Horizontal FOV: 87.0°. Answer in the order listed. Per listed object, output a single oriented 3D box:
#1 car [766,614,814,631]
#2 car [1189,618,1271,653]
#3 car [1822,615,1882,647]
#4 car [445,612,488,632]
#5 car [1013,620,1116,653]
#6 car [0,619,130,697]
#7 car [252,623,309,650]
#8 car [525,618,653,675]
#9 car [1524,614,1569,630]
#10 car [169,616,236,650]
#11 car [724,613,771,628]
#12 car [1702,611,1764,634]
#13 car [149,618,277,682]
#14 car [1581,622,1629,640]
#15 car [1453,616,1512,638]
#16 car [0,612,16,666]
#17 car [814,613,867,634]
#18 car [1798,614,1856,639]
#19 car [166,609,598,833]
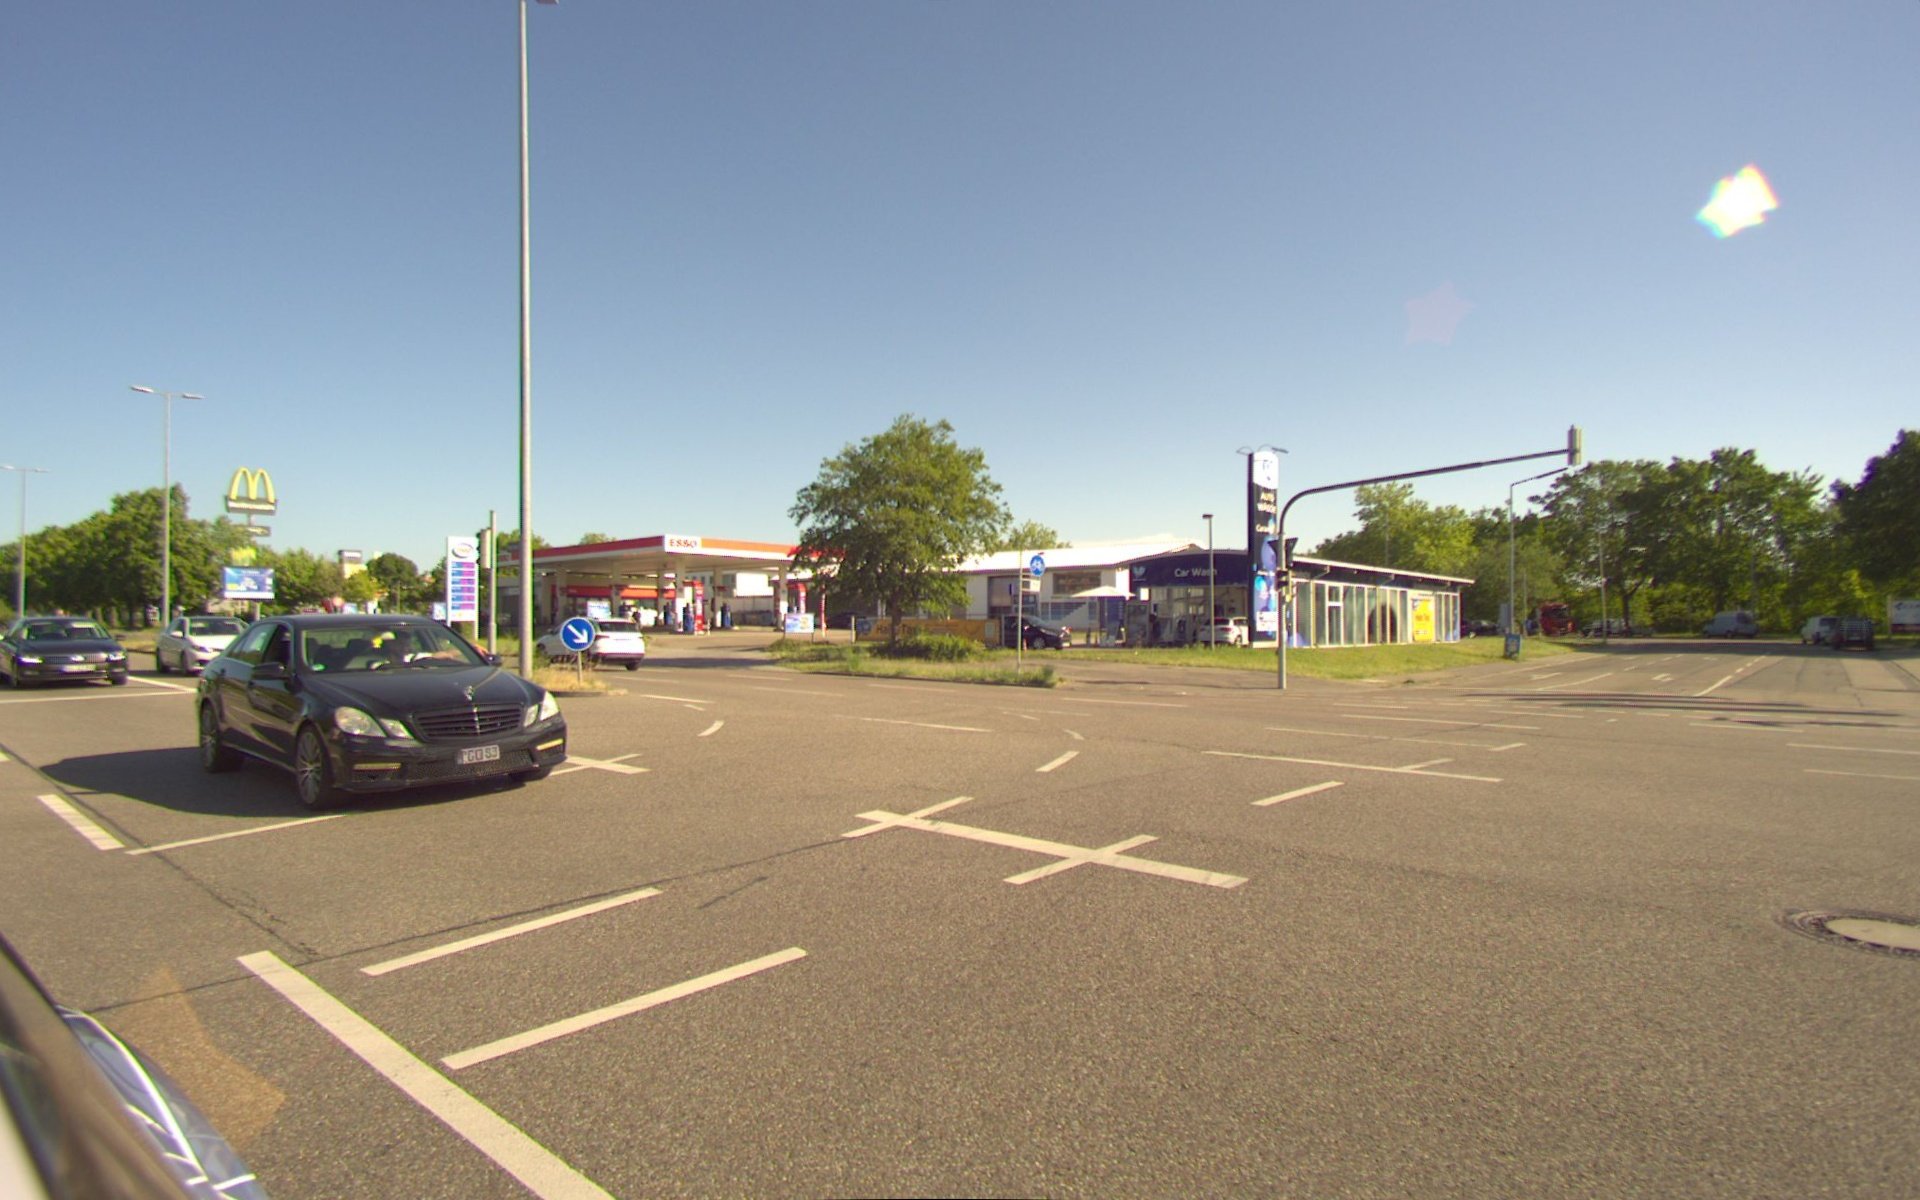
[{"bbox_3d":[-14.267,1.906,84.990,4.116,1.451,1.750,-1,-2,40],"label":"car"},{"bbox_3d":[11.892,1.572,44.407,1.900,1.443,4.063,-1,-3,41],"label":"car"},{"bbox_3d":[53.304,1.855,60.554,1.903,1.857,4.254,0,-2,31],"label":"car"},{"bbox_3d":[-41.771,1.870,85.644,4.116,1.625,1.740,-1,-3,40],"label":"car"},{"bbox_3d":[4.535,1.587,44.138,4.116,1.335,1.876,-1,-3,40],"label":"car"},{"bbox_3d":[-19.243,1.149,21.520,4.264,1.464,1.824,-1,-1,42],"label":"car"},{"bbox_3d":[-39.635,2.106,58.971,4.457,1.443,1.677,-1,-3,42],"label":"car"},{"bbox_3d":[-11.431,1.383,31.096,4.265,1.612,1.875,-1,-3,42],"label":"car"},{"bbox_3d":[68.536,2.633,118.340,2.069,1.813,4.793,1,-2,-6],"label":"car"},{"bbox_3d":[-33.983,1.487,45.383,3.663,1.443,1.677,-1,-3,42],"label":"car"},{"bbox_3d":[-18.829,1.826,89.693,4.116,1.236,1.876,-1,-3,40],"label":"car"},{"bbox_3d":[66.071,1.954,86.561,2.077,1.813,4.775,1,-2,8],"label":"car"},{"bbox_3d":[-18.789,1.199,25.390,4.115,1.466,1.767,-1,-2,42],"label":"car"},{"bbox_3d":[69.039,3.351,108.444,2.072,1.813,4.786,1,-2,0],"label":"car"},{"bbox_3d":[40.384,2.092,78.198,3.694,1.681,1.882,-1,-3,44],"label":"car"},{"bbox_3d":[-32.364,1.267,32.908,4.694,1.696,1.973,-1,0,41],"label":"car"},{"bbox_3d":[-9.555,1.880,80.876,4.116,1.603,1.876,-1,-3,40],"label":"car"},{"bbox_3d":[60.175,1.856,70.332,1.898,1.681,4.264,0,-2,24],"label":"car"},{"bbox_3d":[-5.404,0.846,9.130,4.916,1.494,1.938,-1,-1,42],"label":"car"}]
